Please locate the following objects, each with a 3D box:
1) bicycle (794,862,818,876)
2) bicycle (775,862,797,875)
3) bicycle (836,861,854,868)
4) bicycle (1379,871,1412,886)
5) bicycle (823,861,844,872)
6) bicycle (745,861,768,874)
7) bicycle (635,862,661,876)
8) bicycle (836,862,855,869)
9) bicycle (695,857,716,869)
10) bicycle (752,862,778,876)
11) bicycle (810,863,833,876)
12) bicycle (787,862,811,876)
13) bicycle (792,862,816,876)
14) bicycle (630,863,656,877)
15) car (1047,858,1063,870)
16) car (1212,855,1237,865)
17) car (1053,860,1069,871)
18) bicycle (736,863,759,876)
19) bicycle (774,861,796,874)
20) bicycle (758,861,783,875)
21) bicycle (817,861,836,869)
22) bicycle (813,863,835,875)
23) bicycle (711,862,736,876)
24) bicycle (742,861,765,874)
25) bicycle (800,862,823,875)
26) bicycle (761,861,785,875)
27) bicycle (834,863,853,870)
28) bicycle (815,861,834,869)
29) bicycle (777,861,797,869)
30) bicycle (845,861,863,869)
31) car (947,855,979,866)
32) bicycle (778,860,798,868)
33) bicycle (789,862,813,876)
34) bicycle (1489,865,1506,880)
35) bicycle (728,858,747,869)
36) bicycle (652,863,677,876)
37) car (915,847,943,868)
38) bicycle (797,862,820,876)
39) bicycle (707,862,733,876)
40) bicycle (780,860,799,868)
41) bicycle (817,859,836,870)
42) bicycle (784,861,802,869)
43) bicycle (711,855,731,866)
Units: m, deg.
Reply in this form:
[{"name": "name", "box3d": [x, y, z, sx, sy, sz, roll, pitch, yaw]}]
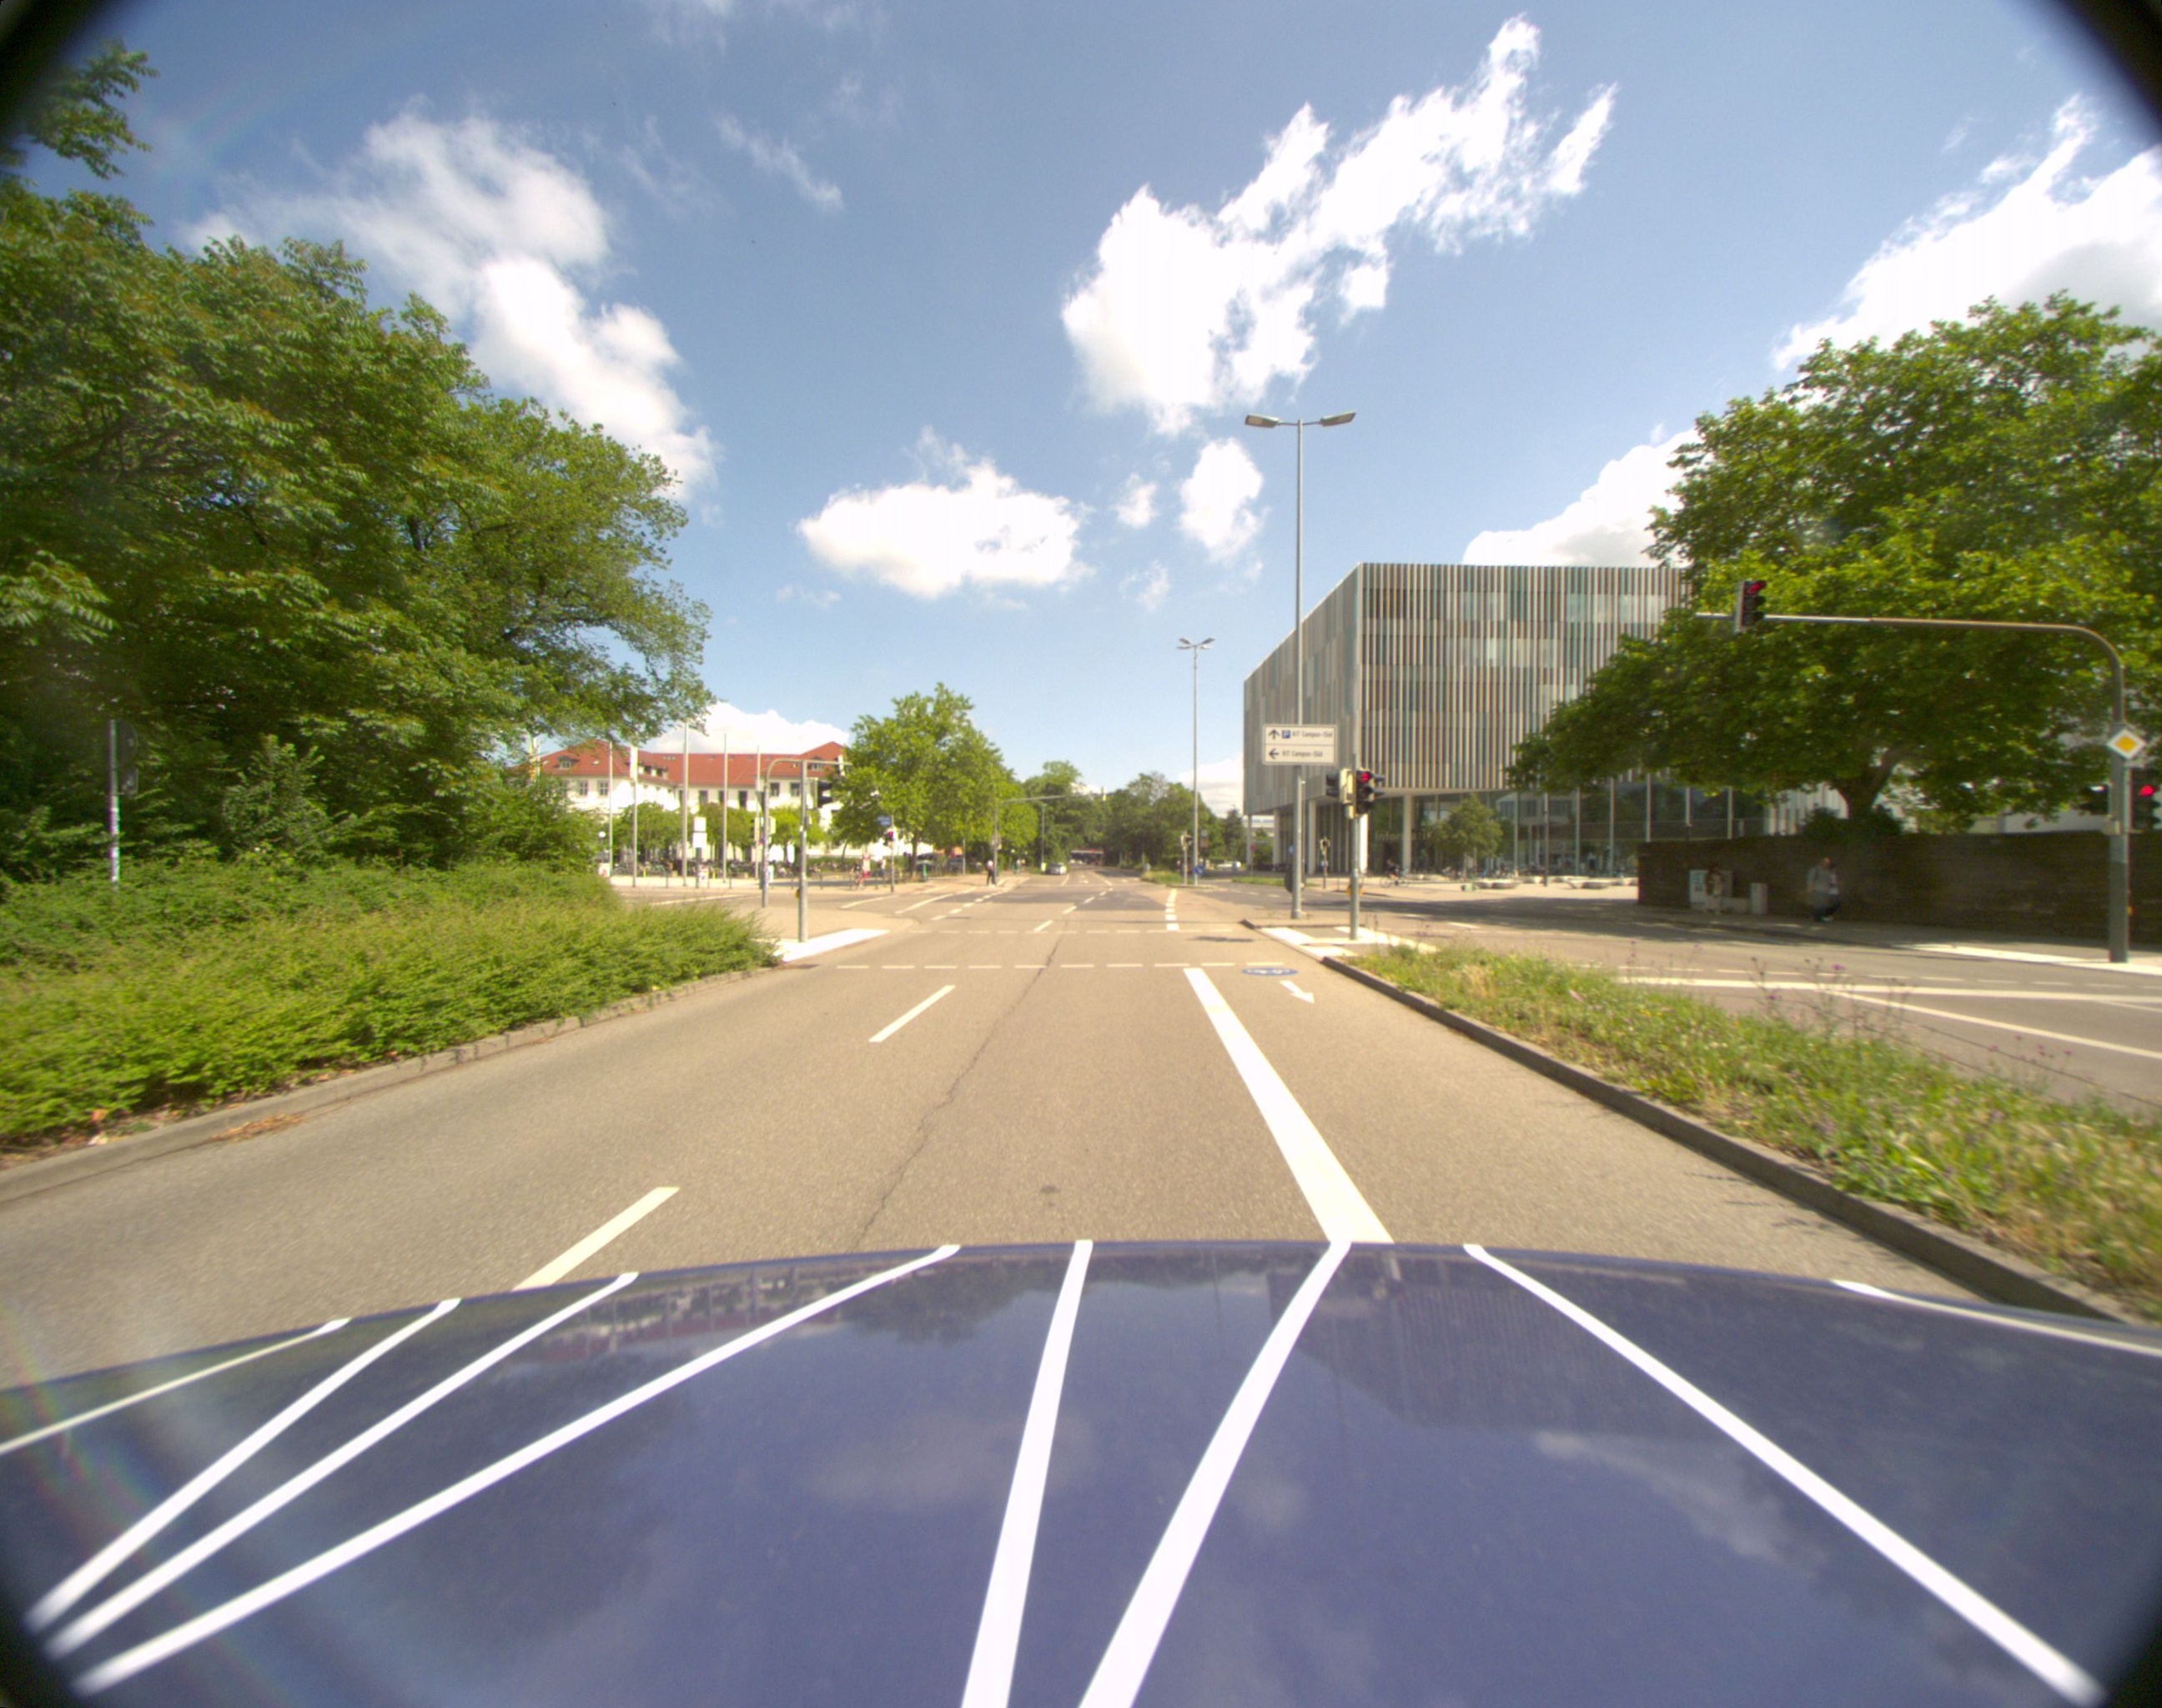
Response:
[{"name": "bicycle", "box3d": [-22.154, 1.205, 61.220, 1.672, 1.090, 0.626, 0, 0, -5]}, {"name": "bicycle", "box3d": [-24.809, 1.235, 63.920, 1.672, 1.090, 0.626, 0, 0, -5]}, {"name": "bicycle", "box3d": [-23.659, 1.028, 76.203, 1.672, 0.729, 0.626, 0, 0, -5]}, {"name": "bicycle", "box3d": [19.367, 1.479, 46.761, 1.770, 0.887, 0.639, 0, 0, 34]}, {"name": "bicycle", "box3d": [-22.296, 1.119, 68.398, 1.672, 1.022, 0.626, 0, 0, -5]}, {"name": "bicycle", "box3d": [-27.992, 1.159, 65.577, 1.672, 1.090, 0.626, 0, 0, -5]}, {"name": "bicycle", "box3d": [-34.392, 1.177, 60.372, 1.672, 1.090, 0.626, 0, 0, -5]}, {"name": "bicycle", "box3d": [-23.323, 1.144, 75.250, 1.672, 0.729, 0.626, 0, 0, -5]}, {"name": "bicycle", "box3d": [-34.578, 0.817, 69.993, 1.672, 1.090, 0.626, 0, 0, -5]}, {"name": "bicycle", "box3d": [-24.302, 1.151, 58.449, 1.672, 1.090, 0.626, 0, 0, -5]}, {"name": "bicycle", "box3d": [-21.985, 1.305, 64.372, 1.672, 1.029, 0.626, 0, 0, -5]}, {"name": "bicycle", "box3d": [-21.978, 1.181, 59.184, 1.672, 1.090, 0.626, 0, 0, -5]}, {"name": "bicycle", "box3d": [-22.053, 1.215, 60.502, 1.672, 1.090, 0.626, 0, 0, -5]}, {"name": "bicycle", "box3d": [-34.373, 1.268, 59.639, 1.672, 1.090, 0.626, 0, 0, -5]}, {"name": "car", "box3d": [-3.058, 1.146, 88.881, 1.708, 1.321, 3.999, 3, 0, -3]}, {"name": "car", "box3d": [25.415, 1.068, 134.572, 3.996, 1.676, 1.646, 0, 0, 2]}, {"name": "car", "box3d": [-2.482, 1.407, 94.761, 1.559, 1.335, 4.001, 3, 0, 3]}, {"name": "bicycle", "box3d": [-27.973, 1.284, 63.692, 1.672, 1.090, 0.626, 0, 0, -5]}, {"name": "bicycle", "box3d": [-25.443, 1.139, 65.268, 1.672, 1.090, 0.626, 0, 0, -5]}, {"name": "bicycle", "box3d": [-24.433, 1.129, 59.813, 1.672, 1.090, 0.626, 0, 0, -5]}, {"name": "bicycle", "box3d": [-25.054, 1.082, 74.800, 1.673, 0.785, 0.626, 0, 0, -6]}, {"name": "bicycle", "box3d": [-22.042, 1.281, 65.061, 1.672, 0.979, 0.626, 0, 0, -5]}, {"name": "bicycle", "box3d": [-28.458, 1.175, 60.472, 1.672, 1.090, 0.626, 0, 0, -5]}, {"name": "bicycle", "box3d": [-27.881, 1.158, 64.666, 1.672, 1.090, 0.626, 0, 0, -5]}, {"name": "bicycle", "box3d": [-22.343, 1.201, 62.957, 1.672, 1.090, 0.626, 0, 0, -5]}, {"name": "bicycle", "box3d": [-24.500, 1.107, 60.523, 1.672, 1.090, 0.626, 0, 0, -5]}, {"name": "bicycle", "box3d": [-23.251, 1.210, 74.354, 1.672, 0.729, 0.626, 0, 0, -5]}, {"name": "bicycle", "box3d": [-25.004, 1.095, 74.110, 1.673, 0.785, 0.626, 0, 0, -6]}, {"name": "bicycle", "box3d": [-28.537, 1.044, 73.743, 1.672, 0.785, 0.626, 0, 0, -5]}, {"name": "bicycle", "box3d": [-23.015, 1.102, 77.039, 1.672, 0.729, 0.626, 0, 0, -5]}, {"name": "car", "box3d": [-15.106, 0.802, 97.669, 4.000, 1.416, 1.756, 0, 0, -8]}, {"name": "bicycle", "box3d": [-28.918, 0.989, 74.971, 1.672, 0.785, 0.626, 1, 0, -5]}, {"name": "bicycle", "box3d": [-22.018, 1.199, 59.836, 1.672, 1.090, 0.626, 0, 0, -5]}, {"name": "bicycle", "box3d": [32.082, 1.407, 58.503, 0.745, 1.131, 2.324, 0, 0, 40]}, {"name": "bicycle", "box3d": [-34.615, 0.955, 76.533, 1.672, 1.090, 0.626, 0, 0, -5]}, {"name": "bicycle", "box3d": [-34.347, 1.269, 62.683, 1.672, 1.090, 0.626, 0, 0, -5]}, {"name": "car", "box3d": [-14.904, 0.313, 74.816, 1.999, 2.002, 4.901, 0, 0, -4]}, {"name": "bicycle", "box3d": [-22.297, 1.230, 62.278, 1.672, 1.090, 0.626, 0, 0, -5]}, {"name": "bicycle", "box3d": [-28.428, 1.195, 59.831, 1.672, 1.090, 0.626, 0, 0, -5]}, {"name": "bicycle", "box3d": [-29.072, 1.012, 75.704, 1.672, 0.785, 0.626, 0, 0, -5]}, {"name": "bicycle", "box3d": [-24.386, 1.004, 72.763, 1.672, 1.090, 0.626, 0, 0, -5]}, {"name": "bicycle", "box3d": [-29.245, 1.074, 77.145, 1.672, 0.785, 0.626, 0, 0, -5]}, {"name": "bicycle", "box3d": [-34.746, 0.616, 73.363, 1.672, 1.090, 0.626, 0, 0, -5]}]
